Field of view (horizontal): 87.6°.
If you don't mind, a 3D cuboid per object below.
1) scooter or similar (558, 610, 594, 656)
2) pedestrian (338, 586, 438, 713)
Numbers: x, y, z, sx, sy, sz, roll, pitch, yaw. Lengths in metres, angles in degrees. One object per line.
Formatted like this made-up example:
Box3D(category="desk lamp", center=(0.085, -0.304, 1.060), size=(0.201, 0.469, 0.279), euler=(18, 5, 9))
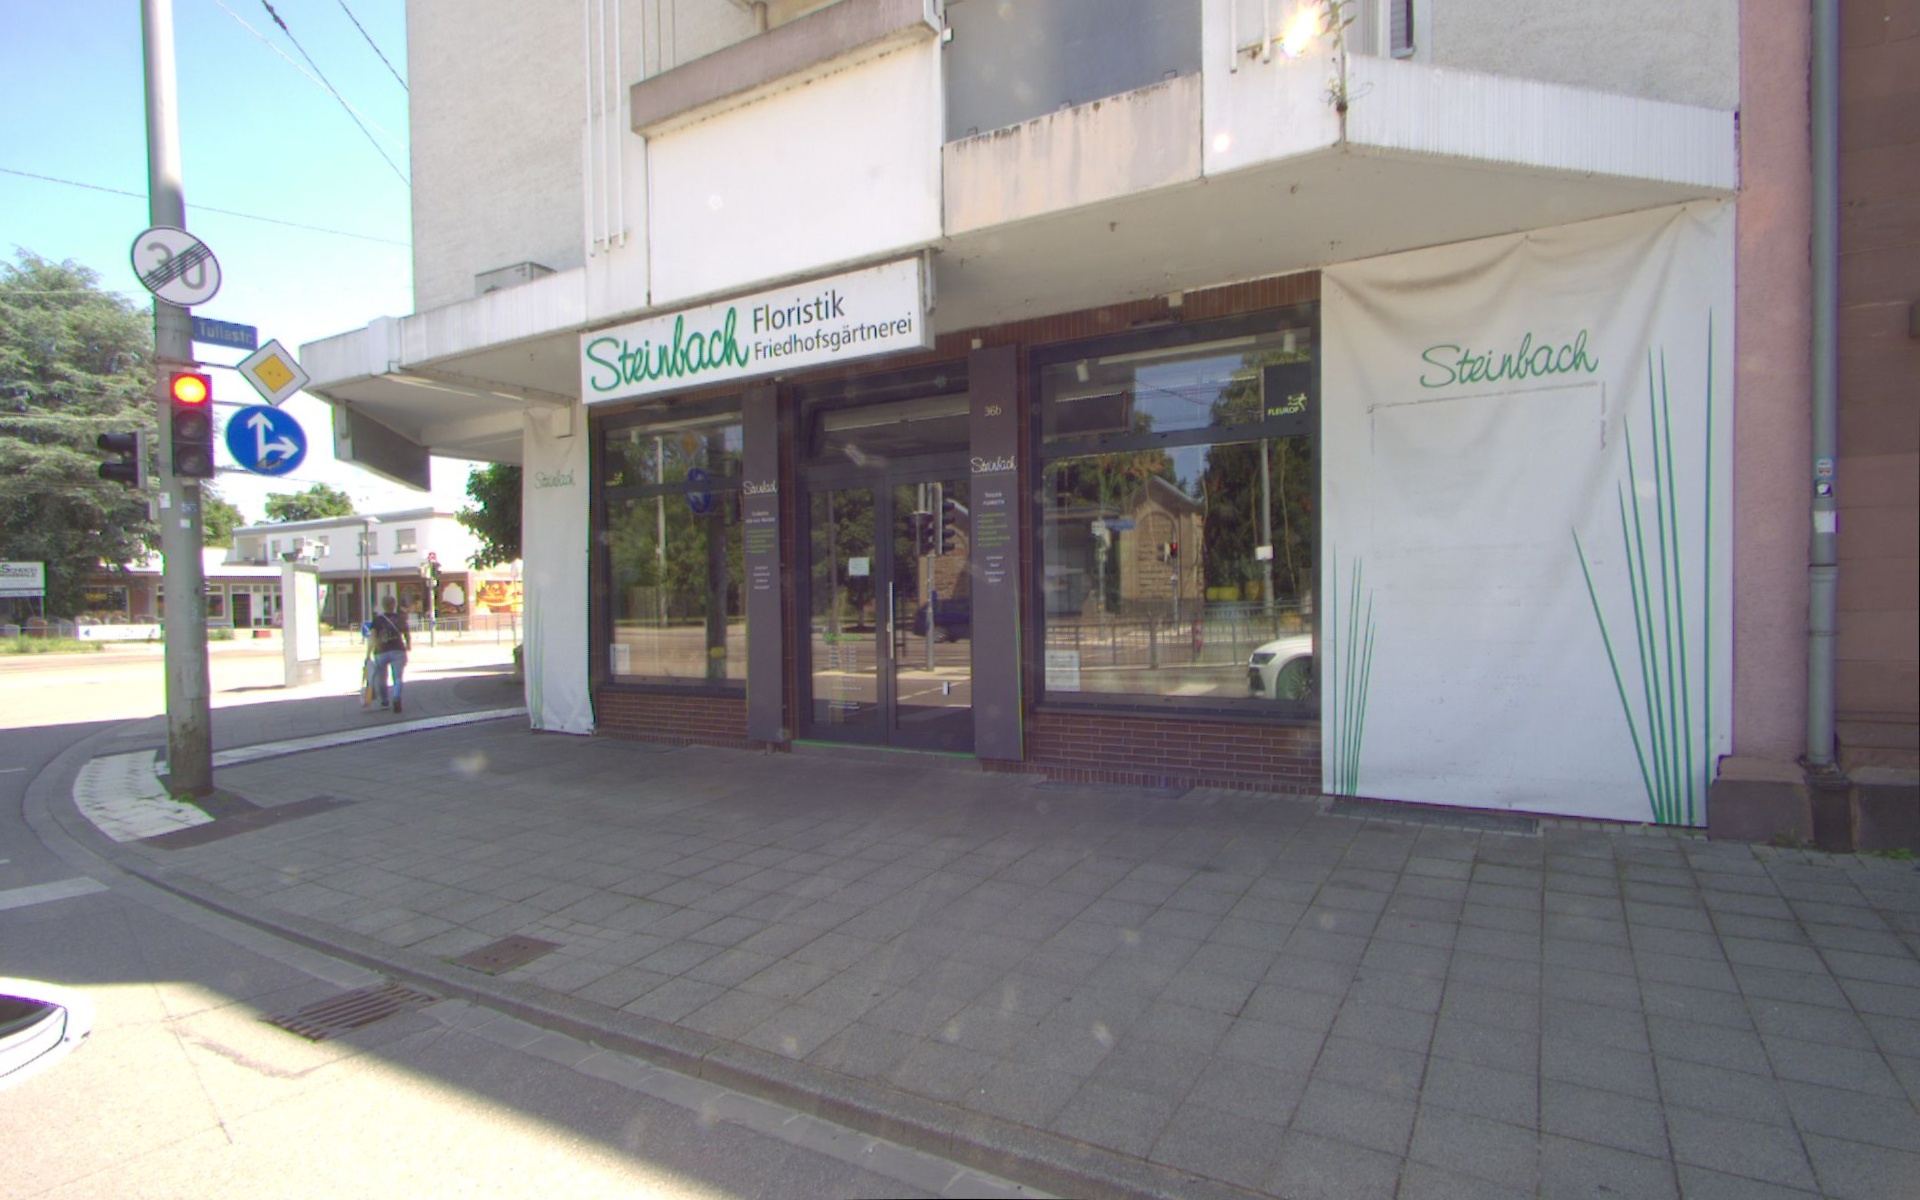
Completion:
Box3D(category="scooter or similar", center=(-10.470, 0.878, 27.329), size=(0.387, 1.229, 1.255), euler=(-1, 0, 5))
Box3D(category="pedestrian", center=(-7.734, 0.641, 13.552), size=(0.816, 1.606, 0.822), euler=(0, 4, 38))
